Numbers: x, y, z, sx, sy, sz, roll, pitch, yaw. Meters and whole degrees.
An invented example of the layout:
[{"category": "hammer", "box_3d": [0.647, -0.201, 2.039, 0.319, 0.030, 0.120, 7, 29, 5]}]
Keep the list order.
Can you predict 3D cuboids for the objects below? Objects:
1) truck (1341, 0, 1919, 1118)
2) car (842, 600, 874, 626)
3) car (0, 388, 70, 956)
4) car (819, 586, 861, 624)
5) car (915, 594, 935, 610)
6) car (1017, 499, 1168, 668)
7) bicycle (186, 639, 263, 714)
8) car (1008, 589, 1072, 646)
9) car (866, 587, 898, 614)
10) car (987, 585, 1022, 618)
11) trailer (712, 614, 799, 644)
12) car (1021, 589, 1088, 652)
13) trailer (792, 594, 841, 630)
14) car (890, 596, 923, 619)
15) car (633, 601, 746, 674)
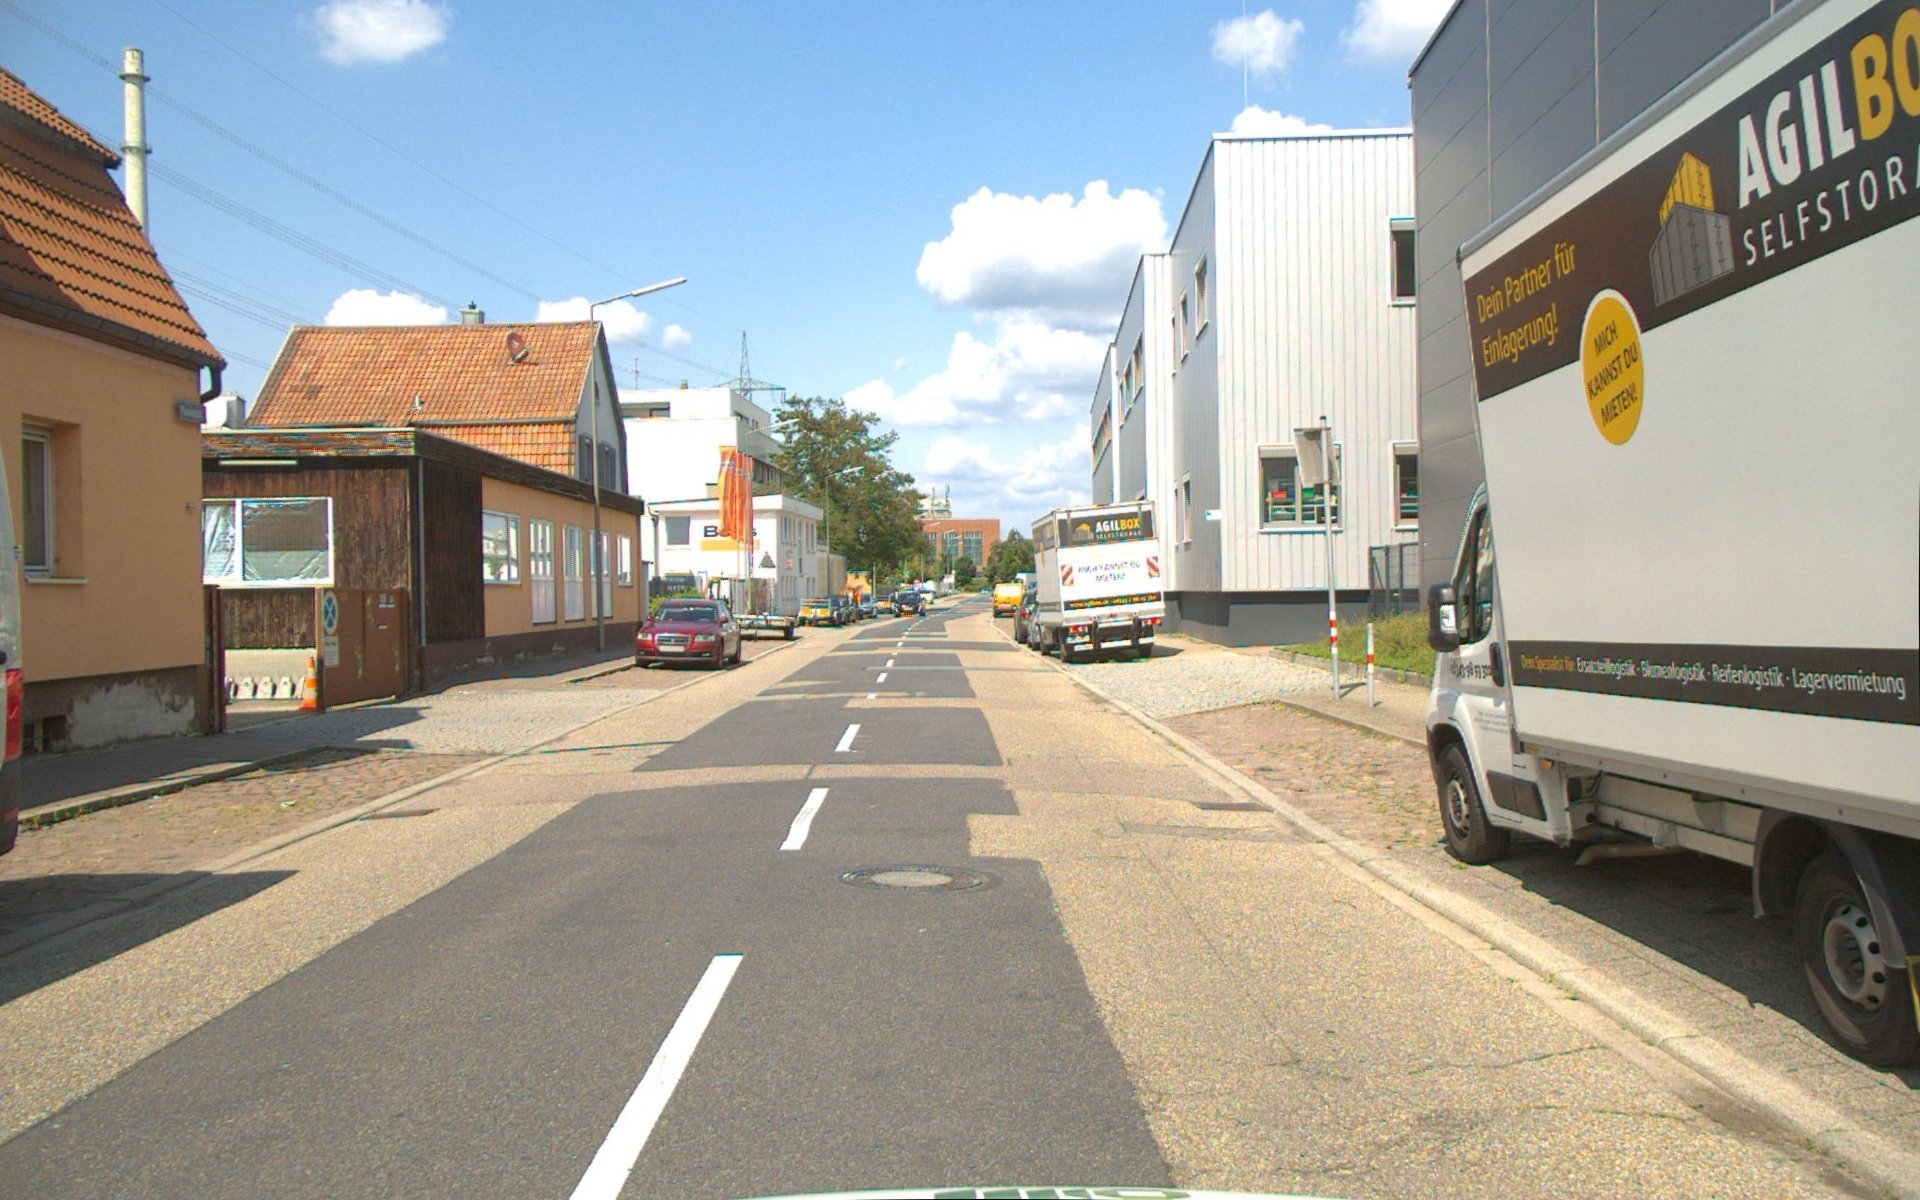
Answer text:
[{"category": "truck", "box_3d": [3.761, -0.316, 6.956, 2.409, 3.349, 6.816, -5, 0, -1]}, {"category": "car", "box_3d": [-5.998, 0.760, 97.506, 1.634, 1.473, 3.453, 1, 0, -1]}, {"category": "car", "box_3d": [-5.297, 0.311, 4.717, 1.986, 2.606, 6.837, 1, 0, -2]}, {"category": "car", "box_3d": [-6.652, 0.277, 91.985, 1.952, 2.049, 4.001, 1, 0, 1]}, {"category": "car", "box_3d": [-3.563, 0.227, 169.182, 1.772, 1.591, 4.001, 1, 0, 3]}, {"category": "car", "box_3d": [2.910, -0.347, 38.202, 2.342, 3.421, 6.640, -4, 0, -4]}, {"category": "bicycle", "box_3d": [-11.215, 1.149, 25.280, 0.617, 0.972, 1.967, 0, 2, -10]}, {"category": "car", "box_3d": [2.408, 0.510, 50.531, 1.732, 1.640, 3.873, -1, 0, 0]}, {"category": "car", "box_3d": [-5.429, 0.011, 115.298, 1.882, 1.825, 4.001, 1, 0, 1]}, {"category": "car", "box_3d": [2.483, 0.074, 92.390, 1.899, 1.772, 4.377, -1, 0, 1]}, {"category": "trailer", "box_3d": [-6.768, 0.949, 55.384, 2.314, 0.908, 5.567, 1, 0, -1]}, {"category": "car", "box_3d": [2.542, 0.533, 45.285, 1.535, 1.601, 4.068, -1, 0, 0]}, {"category": "trailer", "box_3d": [-6.595, 0.546, 76.519, 1.953, 1.584, 4.252, -1, 0, -1]}, {"category": "car", "box_3d": [-3.116, 0.433, 97.142, 1.879, 1.307, 3.613, -2, 0, -1]}, {"category": "car", "box_3d": [-5.906, 0.780, 36.593, 1.726, 1.473, 4.740, 1, 0, -1]}]
